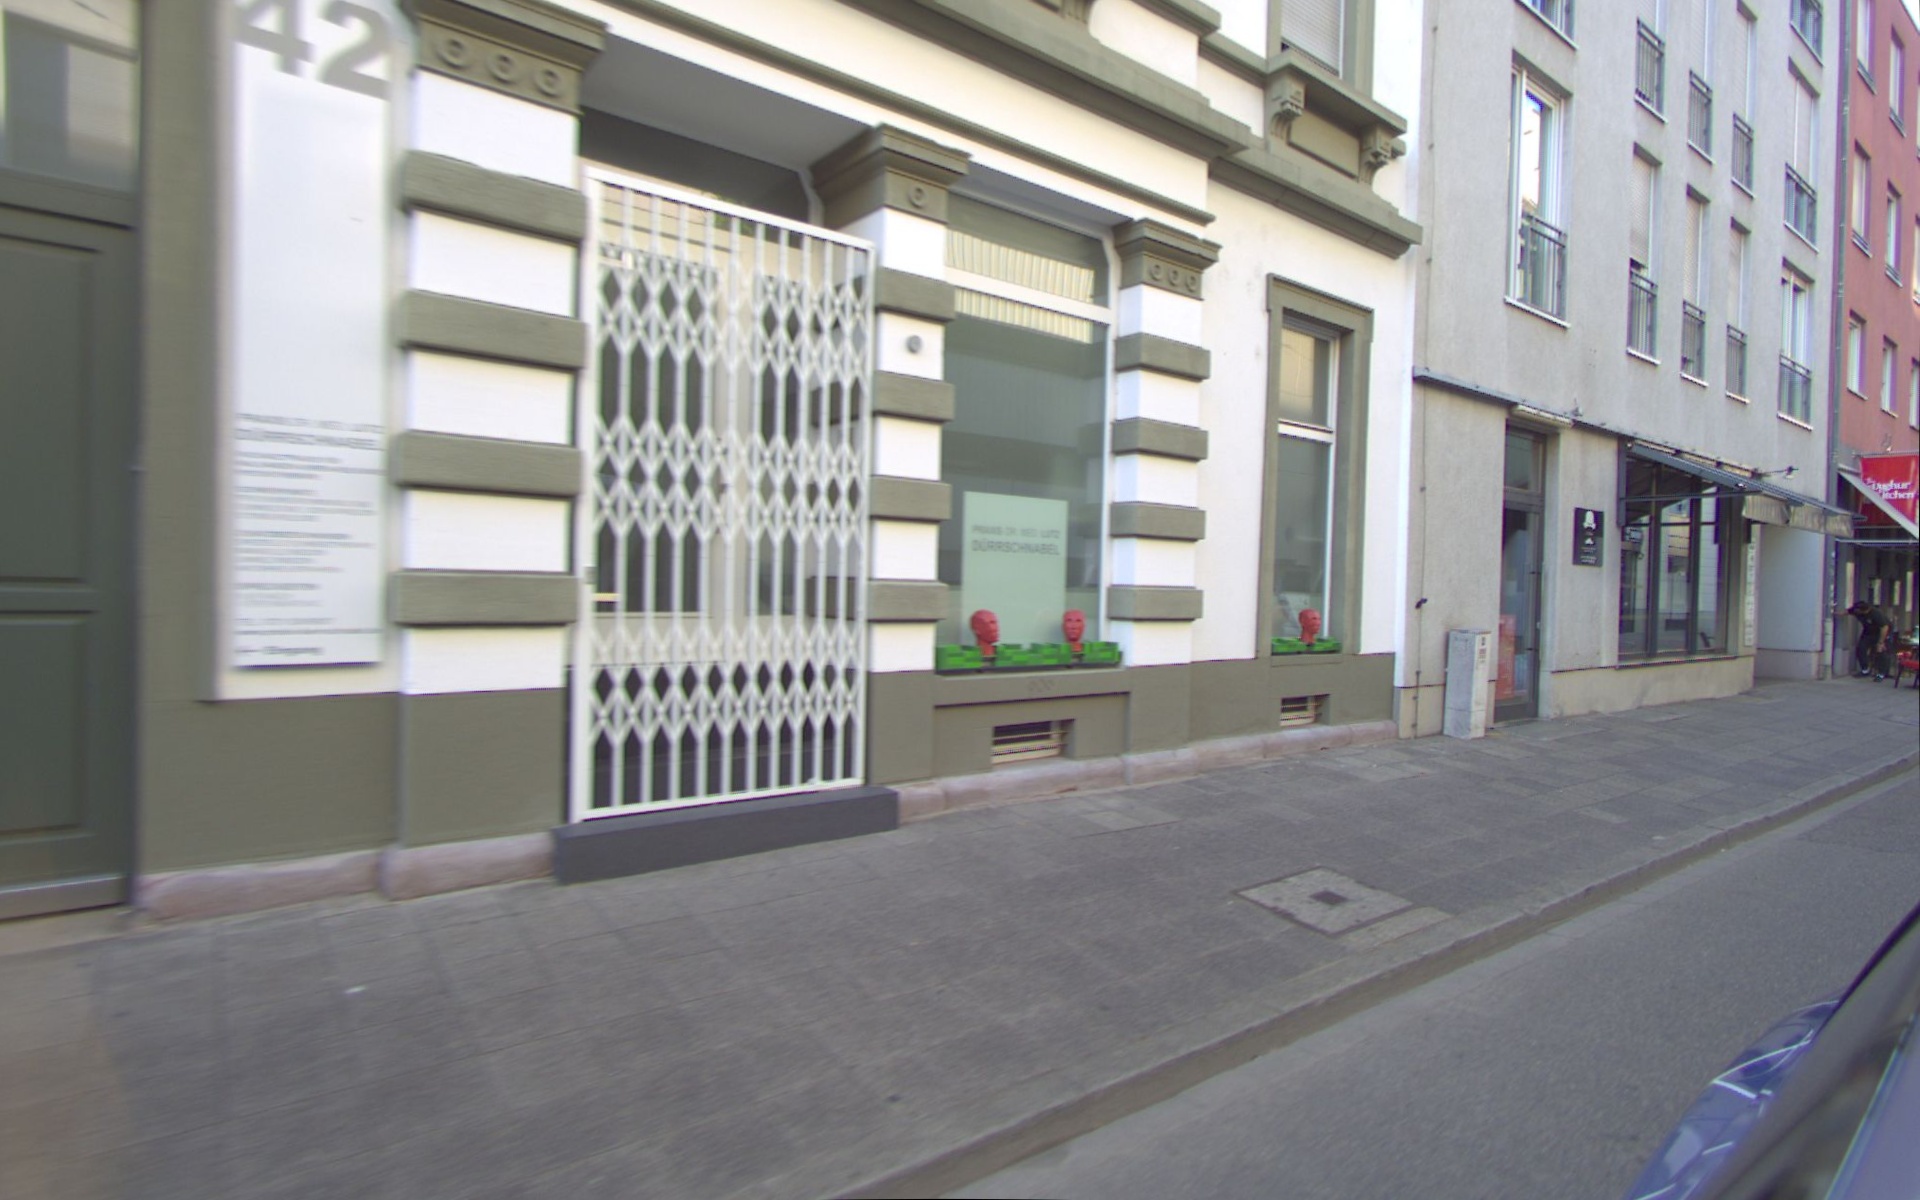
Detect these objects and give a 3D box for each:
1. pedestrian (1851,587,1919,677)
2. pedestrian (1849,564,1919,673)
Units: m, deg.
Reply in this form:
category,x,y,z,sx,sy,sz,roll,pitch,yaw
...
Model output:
category,x,y,z,sx,sy,sz,roll,pitch,yaw
pedestrian,16.159,0.544,17.630,0.649,1.504,0.827,1,1,-38
pedestrian,16.088,0.307,17.619,0.654,1.814,0.723,5,3,29
